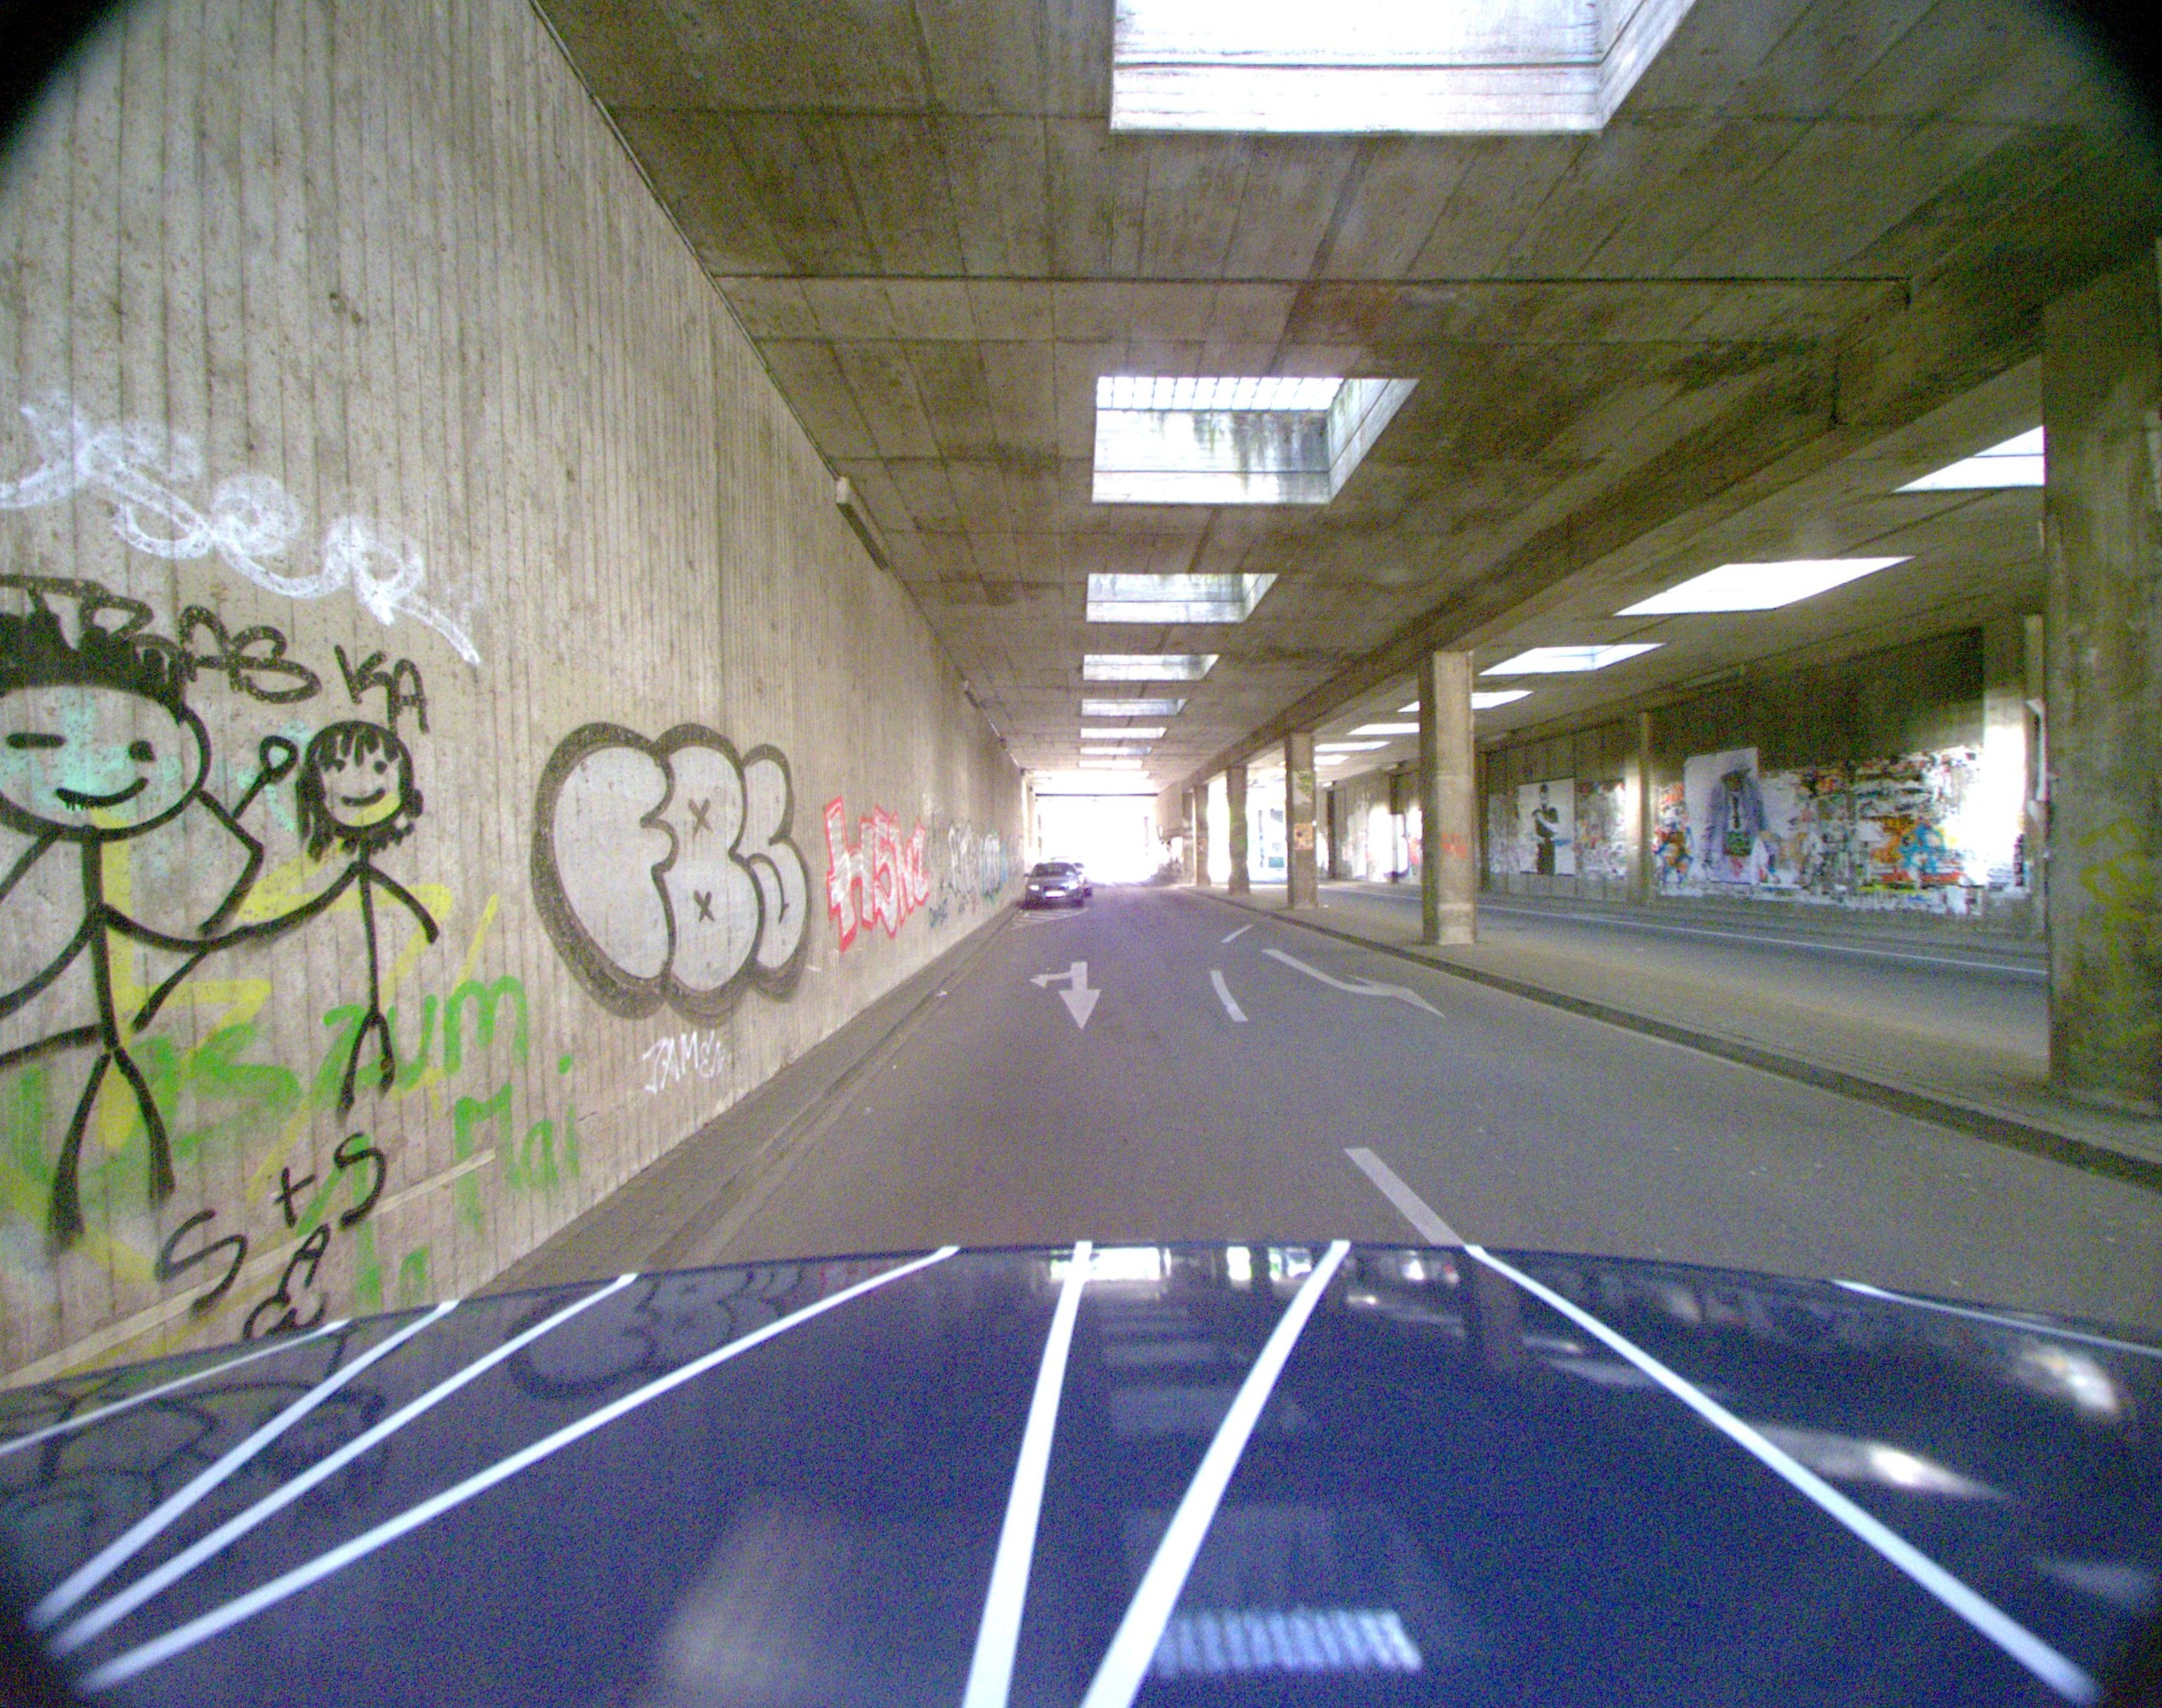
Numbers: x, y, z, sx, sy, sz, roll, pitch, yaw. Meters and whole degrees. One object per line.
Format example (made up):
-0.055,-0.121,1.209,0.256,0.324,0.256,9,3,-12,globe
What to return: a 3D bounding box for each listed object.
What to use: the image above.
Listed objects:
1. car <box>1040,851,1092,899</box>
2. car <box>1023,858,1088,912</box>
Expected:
-0.516,0.752,29.863,1.861,1.709,4.000,-2,0,1,car
-0.722,0.908,24.042,1.808,1.460,4.000,-2,0,1,car
